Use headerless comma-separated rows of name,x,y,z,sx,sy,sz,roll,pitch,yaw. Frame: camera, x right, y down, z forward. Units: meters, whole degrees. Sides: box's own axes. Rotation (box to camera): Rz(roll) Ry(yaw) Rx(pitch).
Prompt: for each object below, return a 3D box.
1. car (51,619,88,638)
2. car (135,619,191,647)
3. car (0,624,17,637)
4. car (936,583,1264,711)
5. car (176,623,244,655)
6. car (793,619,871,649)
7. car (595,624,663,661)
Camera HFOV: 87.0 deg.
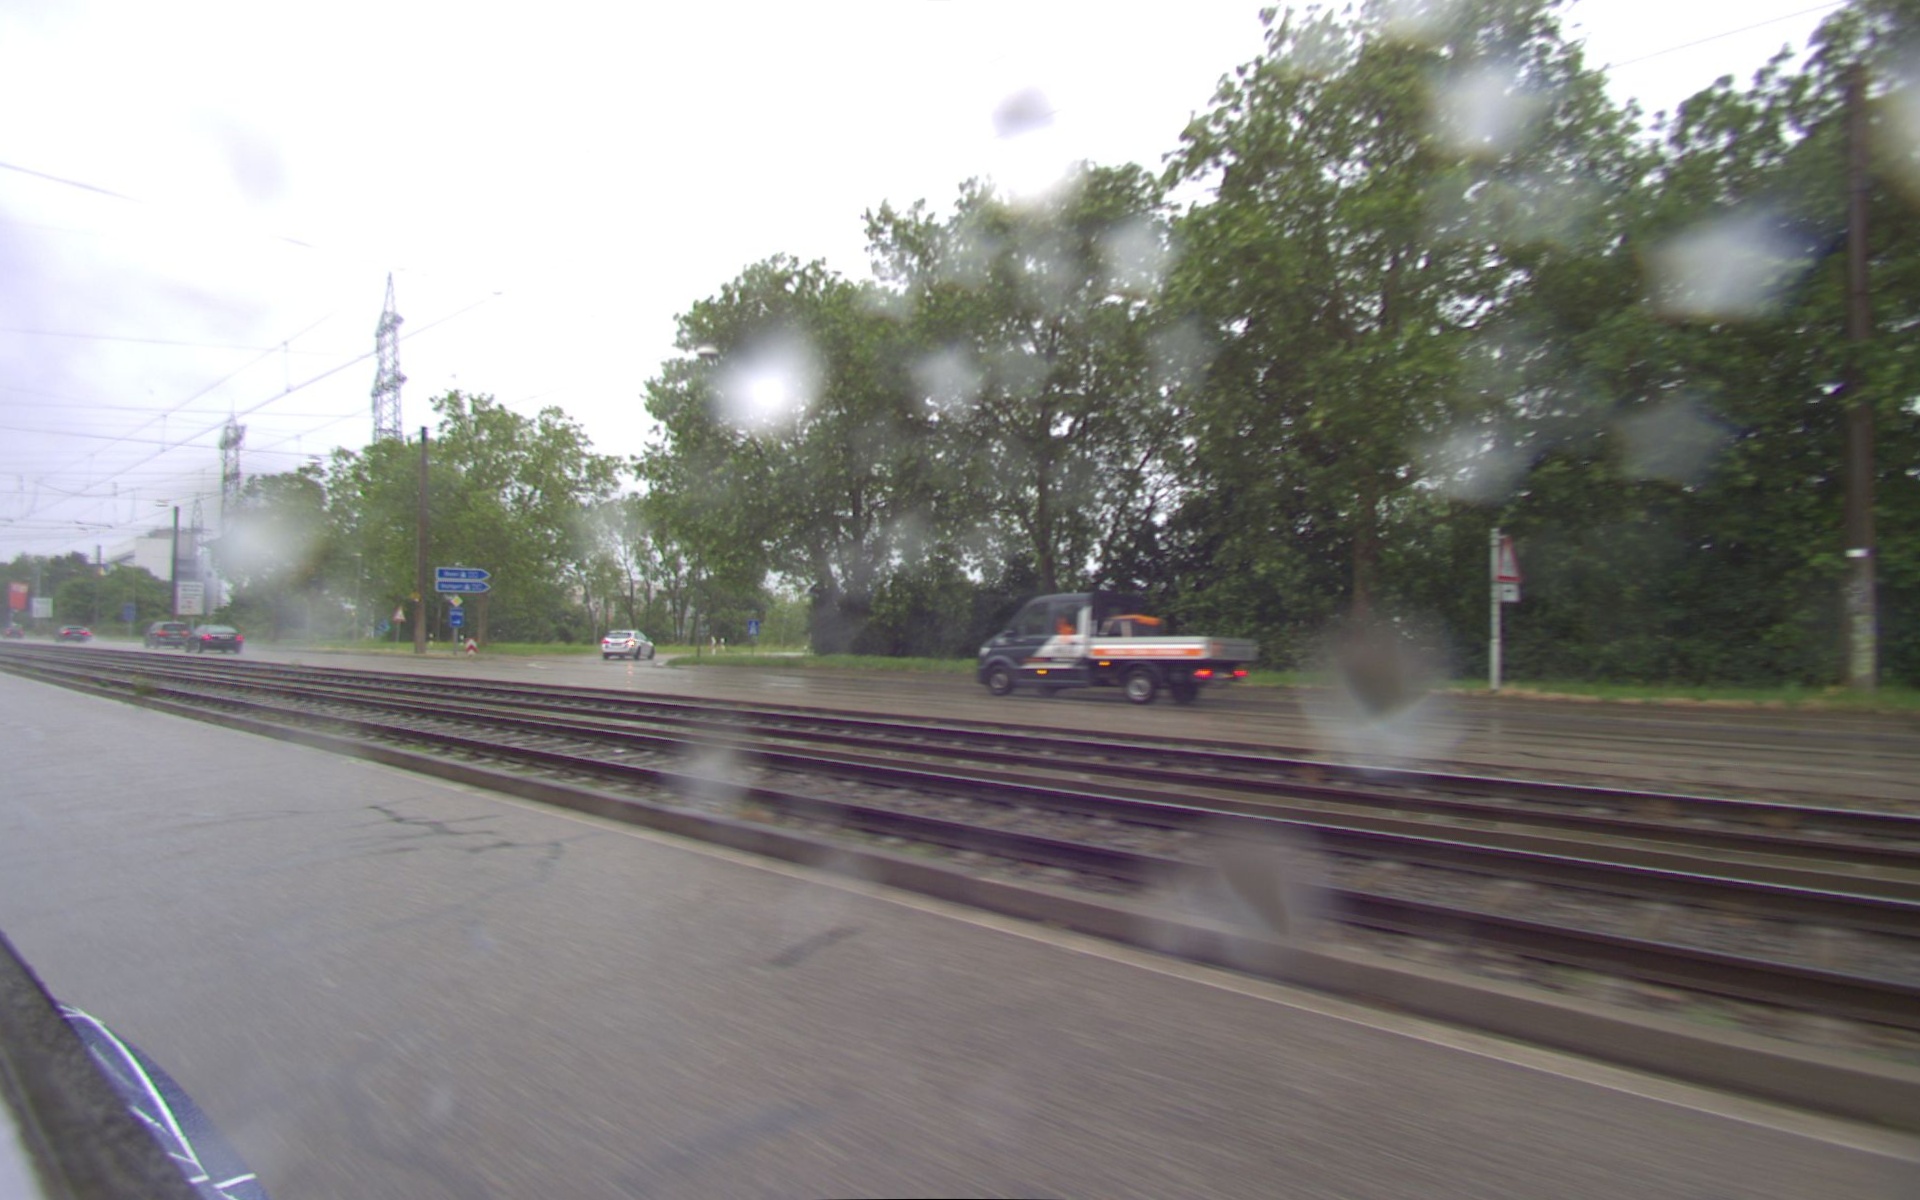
car,-78.628,2.492,89.365,5.310,1.561,1.772,-3,-1,41
car,-52.633,2.213,66.773,6.101,1.719,1.800,-3,-1,41
car,-121.839,3.929,129.239,3.997,1.564,1.671,-3,-1,41
car,2.780,0.976,21.847,6.986,2.361,2.077,-3,-1,41
car,-40.520,2.109,54.618,5.678,1.597,1.757,-3,-1,41
car,-8.565,2.244,67.794,4.683,1.812,2.095,-1,-1,-33
car,-17.000,2.166,52.285,1.800,1.719,5.019,-2,-1,1
